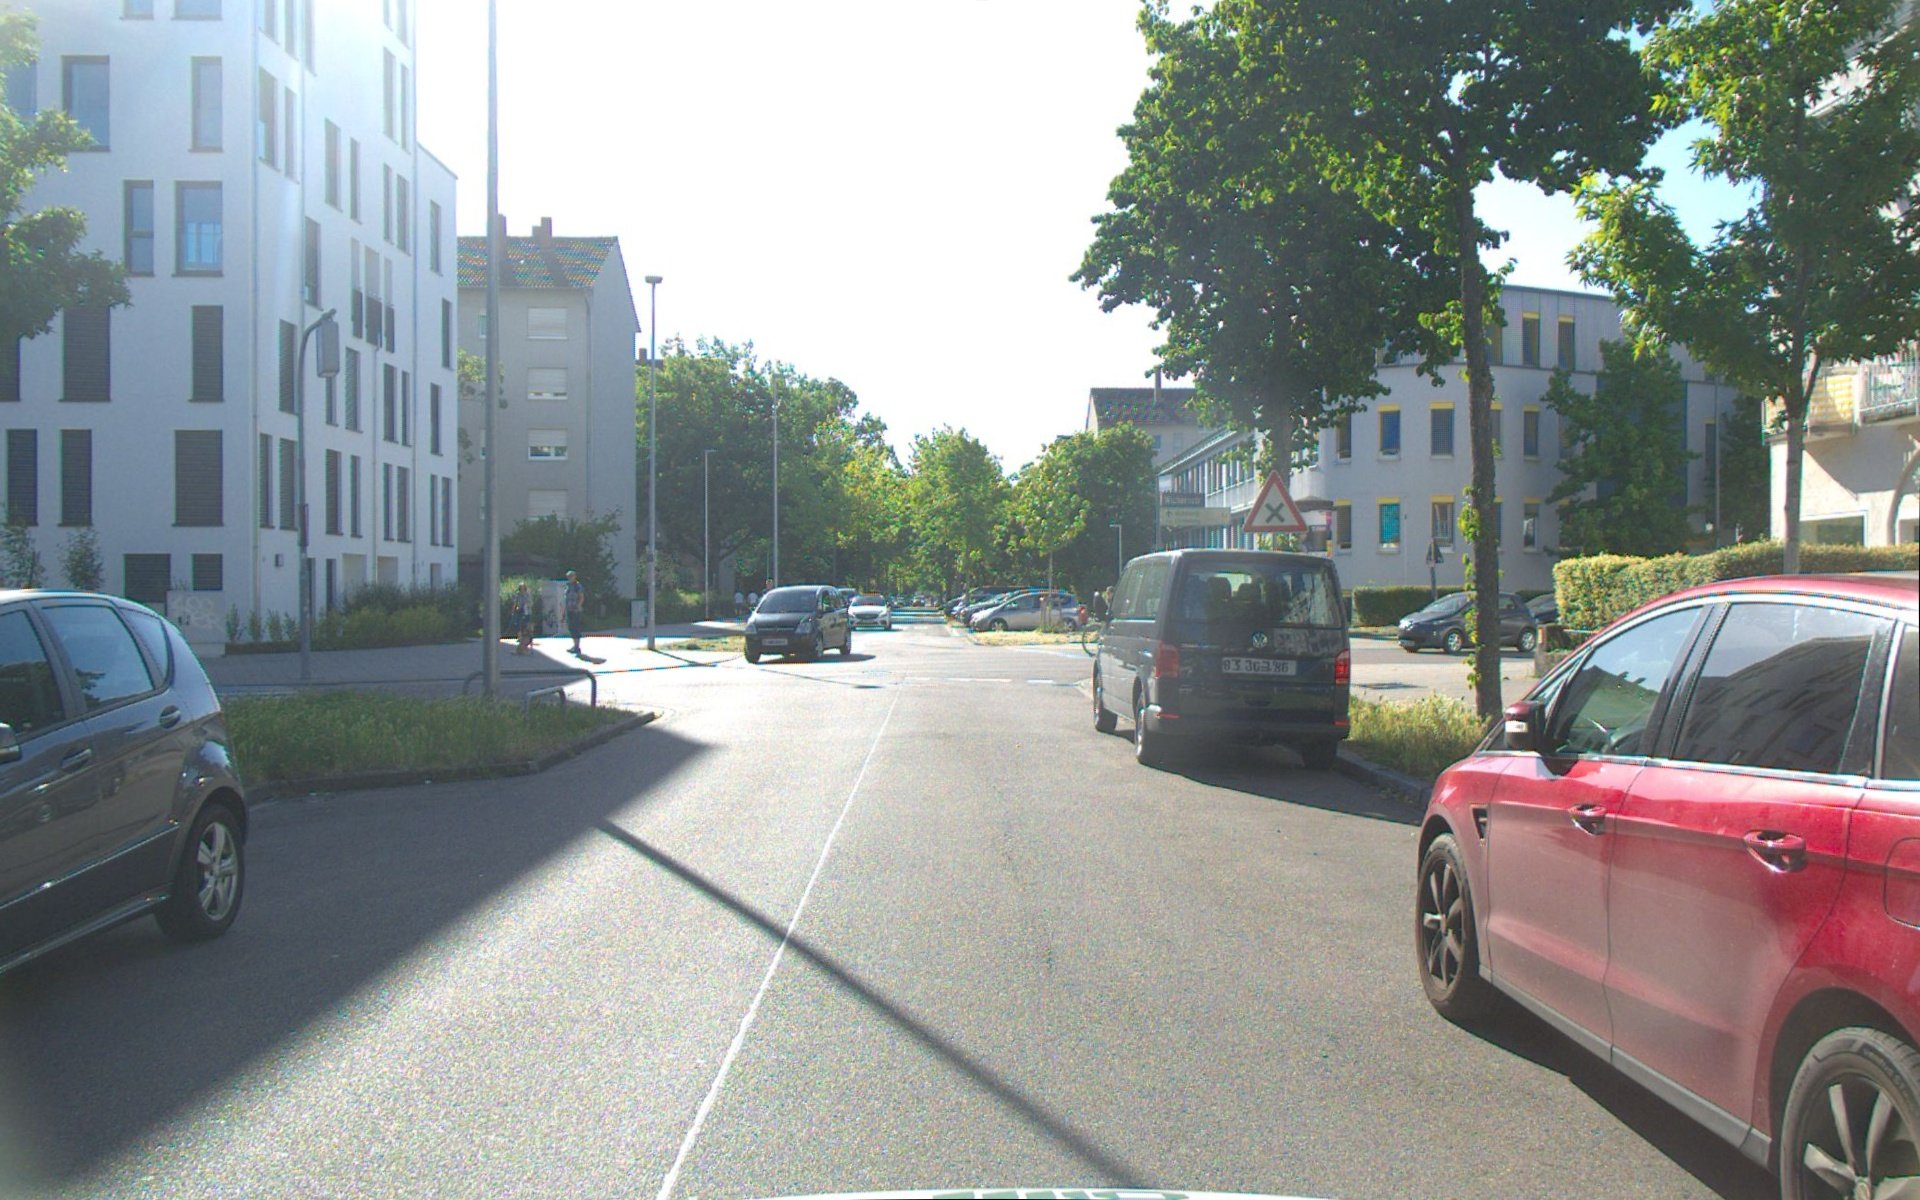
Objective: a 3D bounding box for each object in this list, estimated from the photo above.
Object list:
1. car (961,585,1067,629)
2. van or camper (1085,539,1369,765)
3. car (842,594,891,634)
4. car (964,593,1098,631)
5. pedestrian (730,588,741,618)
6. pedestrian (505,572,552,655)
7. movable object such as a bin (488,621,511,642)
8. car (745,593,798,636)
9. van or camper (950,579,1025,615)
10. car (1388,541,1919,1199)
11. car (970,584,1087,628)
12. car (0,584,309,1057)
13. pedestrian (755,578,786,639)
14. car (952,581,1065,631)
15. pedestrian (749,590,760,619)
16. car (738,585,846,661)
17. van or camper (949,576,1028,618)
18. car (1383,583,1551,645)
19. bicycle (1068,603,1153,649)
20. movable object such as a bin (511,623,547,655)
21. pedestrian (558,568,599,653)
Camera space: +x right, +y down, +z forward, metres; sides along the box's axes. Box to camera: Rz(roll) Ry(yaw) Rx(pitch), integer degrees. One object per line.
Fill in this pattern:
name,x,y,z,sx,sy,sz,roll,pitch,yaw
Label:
car,2.145,0.290,67.099,4.120,1.624,1.999,2,-1,-3
van or camper,2.526,0.468,17.054,1.949,1.895,5.386,2,0,-1
car,-3.869,0.593,69.206,1.848,1.531,4.636,3,0,-2
car,2.604,0.435,61.092,4.775,1.296,1.727,-1,0,-5
pedestrian,-12.765,0.176,94.079,0.622,1.693,0.698,0,0,-7
pedestrian,-11.417,0.344,43.785,0.762,2.157,0.953,1,2,42
movable object such as a bin,-12.323,0.841,44.260,0.266,0.551,0.686,0,0,19
car,-6.851,0.518,60.468,1.634,1.445,3.997,2,0,-3
van or camper,1.433,-0.149,87.706,3.906,1.803,1.999,1,-1,-2
car,2.737,0.730,4.563,1.860,1.641,4.972,1,0,0
car,2.432,0.207,59.050,4.008,1.518,1.727,1,0,-4
car,-4.100,0.762,6.288,1.685,1.590,4.107,-1,0,-1
pedestrian,-5.473,0.229,47.788,0.853,1.744,0.978,0,0,-5
car,1.847,0.230,64.272,4.194,1.795,1.999,2,-1,-4
pedestrian,-12.185,0.270,97.904,0.622,1.693,0.698,0,0,-7
car,-3.706,0.497,37.045,1.701,1.557,4.115,2,0,4
van or camper,1.439,-0.156,84.845,3.906,2.049,1.999,1,-1,-2
car,13.207,0.363,43.047,4.075,1.530,1.827,1,0,-27
bicycle,3.462,0.605,38.029,1.878,1.029,0.549,1,-1,-10
movable object such as a bin,-9.726,0.869,37.323,0.266,0.691,0.847,-1,1,31
pedestrian,-8.798,0.243,38.184,0.829,1.918,0.789,2,-1,-11
